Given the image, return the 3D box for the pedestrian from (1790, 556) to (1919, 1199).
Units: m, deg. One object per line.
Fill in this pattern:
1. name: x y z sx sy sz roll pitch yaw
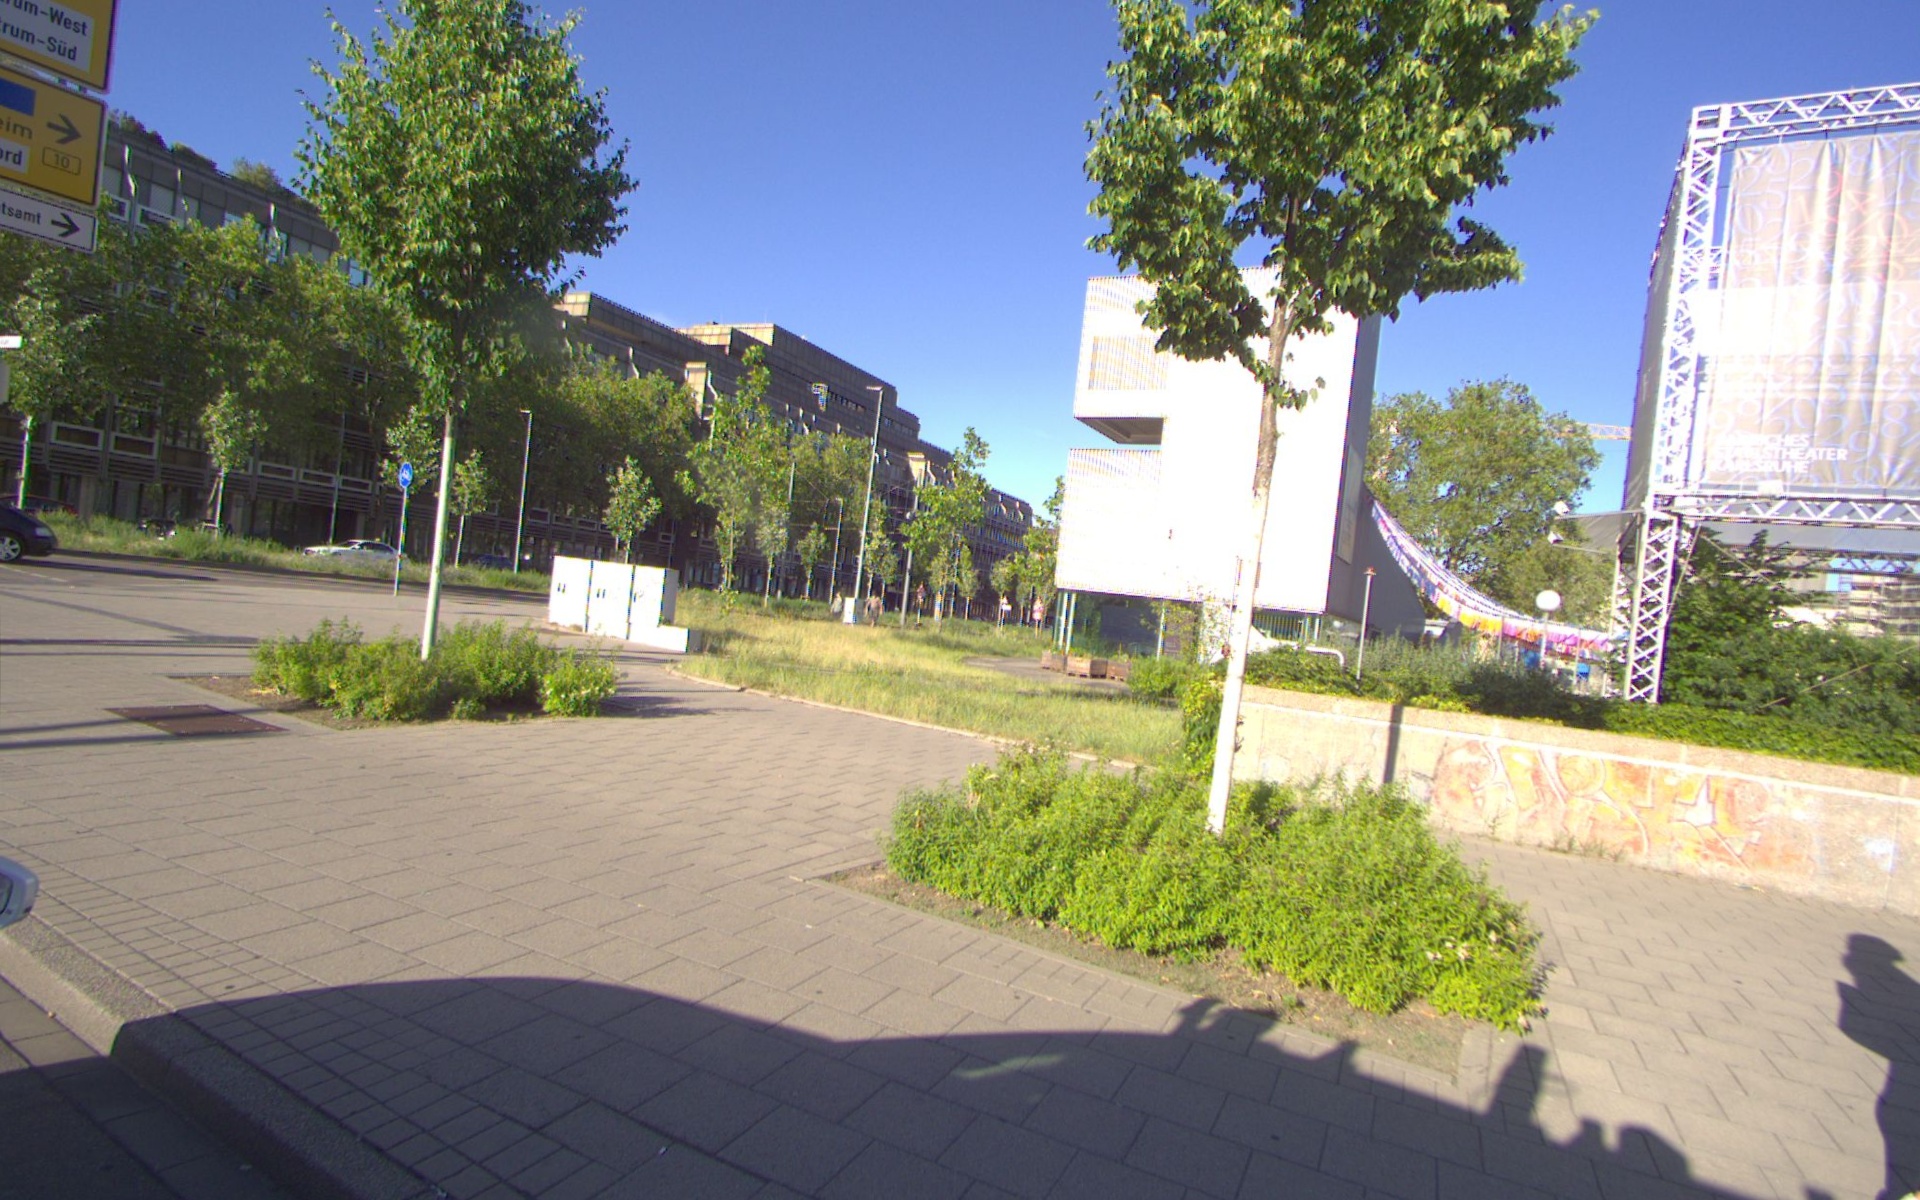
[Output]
1. pedestrian: 2.902 0.850 2.292 1.053 1.809 0.942 7 0 -5

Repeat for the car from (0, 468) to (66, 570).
1. car: -19.967 -1.812 18.845 1.970 1.780 4.469 11 2 39

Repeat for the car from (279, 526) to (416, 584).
1. car: -30.671 -2.197 50.581 2.062 2.036 5.455 6 -2 29

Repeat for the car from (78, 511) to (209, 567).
1. car: -36.780 -2.718 45.418 1.965 1.770 3.998 6 -2 28

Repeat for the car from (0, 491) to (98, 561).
1. car: -33.310 -2.721 35.370 1.966 2.037 3.997 6 -2 29

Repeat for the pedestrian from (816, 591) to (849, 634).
1. pedestrian: -5.281 0.504 41.634 0.925 1.650 0.803 7 1 18

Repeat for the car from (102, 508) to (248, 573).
1. car: -34.108 -2.542 43.878 1.965 2.036 4.458 7 -2 27

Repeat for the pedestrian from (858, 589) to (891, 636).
1. pedestrian: -3.427 0.518 40.225 0.925 1.750 0.695 7 1 18
